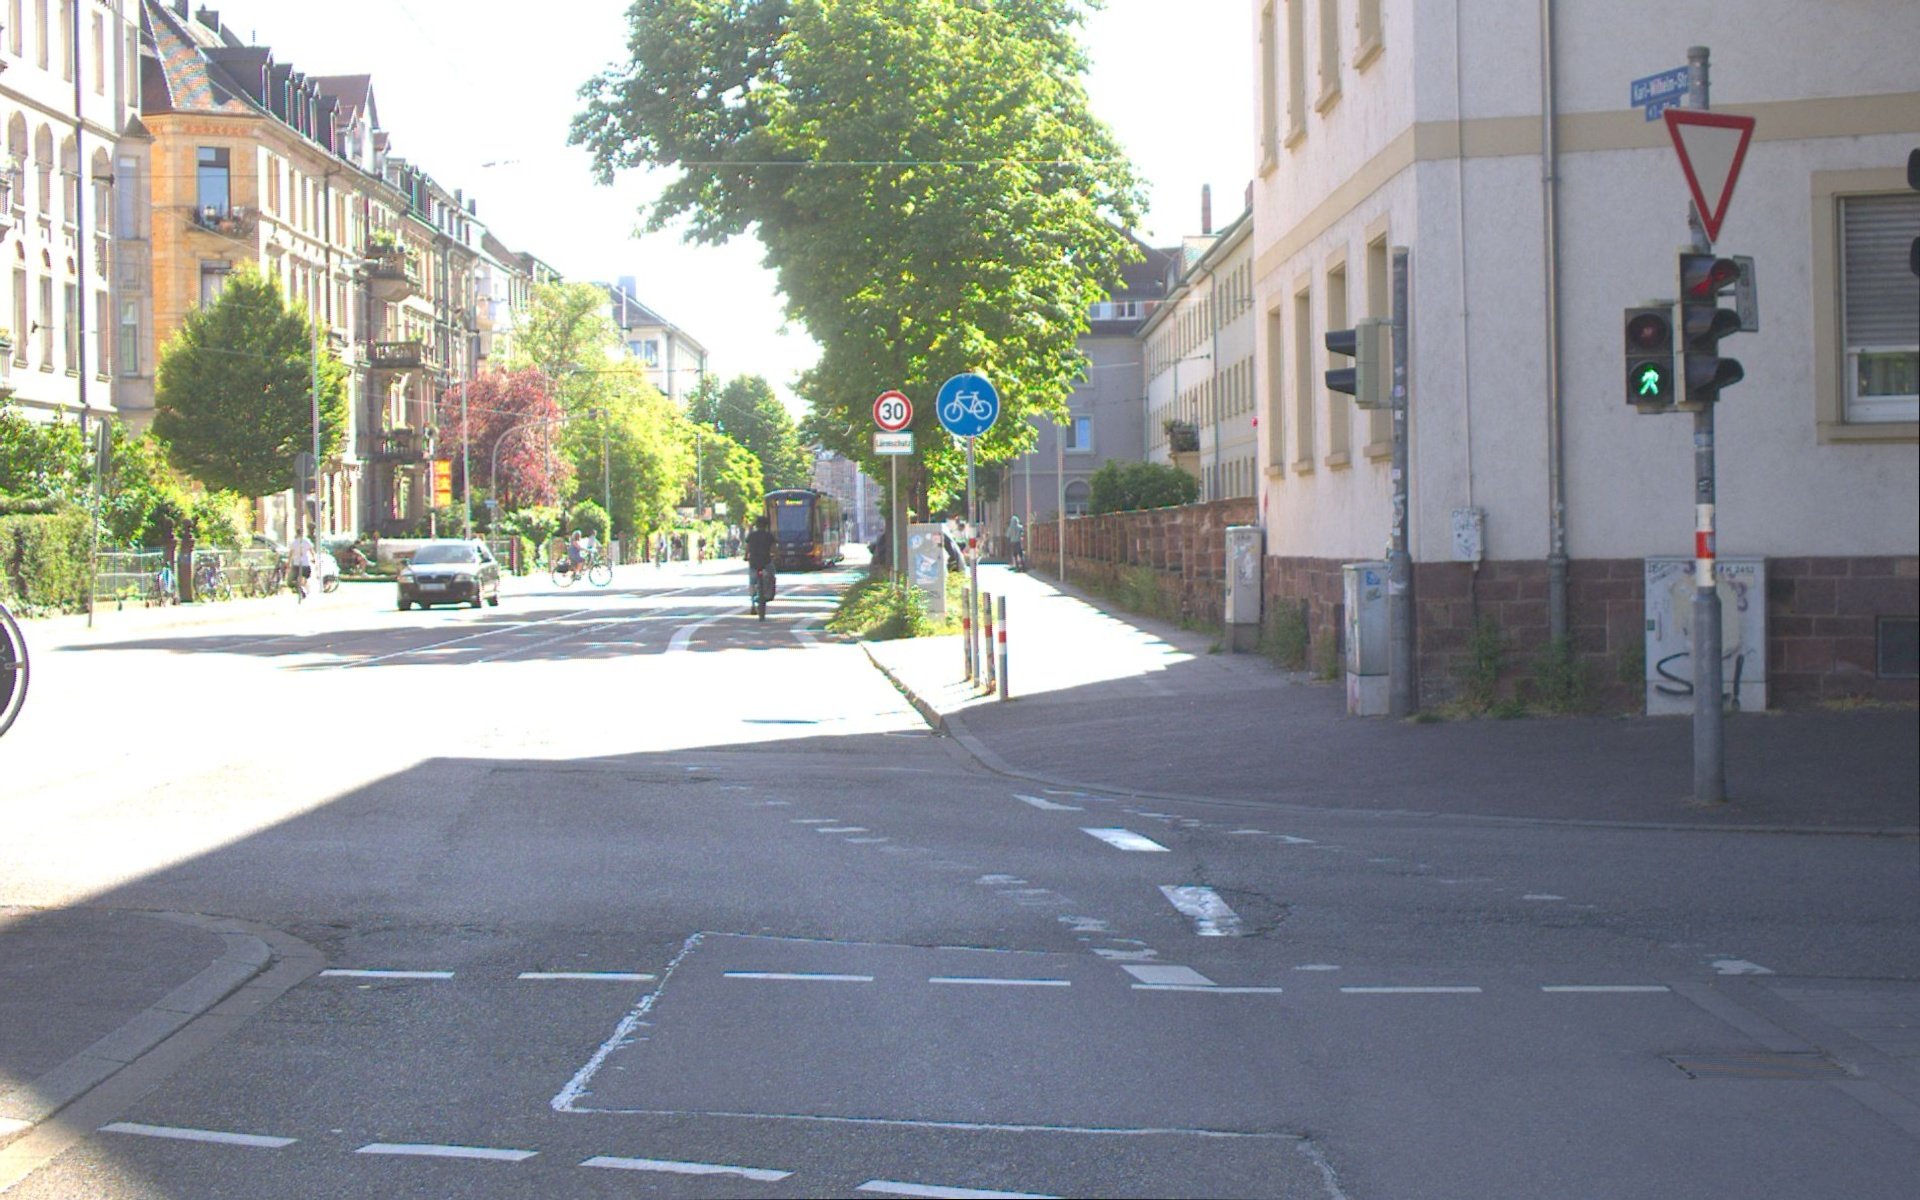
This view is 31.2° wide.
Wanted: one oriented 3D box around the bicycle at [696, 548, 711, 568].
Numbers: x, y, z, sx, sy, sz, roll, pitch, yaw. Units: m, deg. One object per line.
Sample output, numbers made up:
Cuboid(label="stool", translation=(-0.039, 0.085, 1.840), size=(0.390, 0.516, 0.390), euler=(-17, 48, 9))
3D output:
Cuboid(label="bicycle", translation=(-14.235, -2.336, 191.011), size=(0.692, 1.108, 1.719), euler=(-2, 1, 0))

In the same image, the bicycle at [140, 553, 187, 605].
Cuboid(label="bicycle", translation=(-16.967, -0.451, 73.262), size=(0.563, 1.030, 1.768), euler=(1, 2, 0))

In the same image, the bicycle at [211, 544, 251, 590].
Cuboid(label="bicycle", translation=(-16.954, -0.776, 79.991), size=(0.563, 1.030, 1.768), euler=(1, 1, -1))

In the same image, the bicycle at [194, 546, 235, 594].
Cuboid(label="bicycle", translation=(-16.780, -0.685, 77.398), size=(0.563, 1.030, 1.768), euler=(1, 1, -1))

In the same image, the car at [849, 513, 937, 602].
Cuboid(label="car", translation=(-1.376, -0.893, 70.896), size=(1.743, 1.760, 4.478), euler=(1, 1, -1))

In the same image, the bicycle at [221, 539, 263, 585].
Cuboid(label="bicycle", translation=(-17.240, -0.918, 82.544), size=(0.563, 1.030, 1.768), euler=(3, 1, -25))

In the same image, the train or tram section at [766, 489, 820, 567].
Cuboid(label="train or tram section", translation=(-7.465, -3.245, 154.421), size=(2.153, 3.420, 6.611), euler=(1, 1, -1))

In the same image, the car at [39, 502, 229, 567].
Cuboid(label="car", translation=(-21.483, -1.701, 89.515), size=(4.446, 1.638, 1.966), euler=(1, 1, 3))

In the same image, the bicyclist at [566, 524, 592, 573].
Cuboid(label="bicyclist", translation=(-11.443, -1.552, 103.292), size=(0.613, 1.463, 0.637), euler=(0, 1, -22))

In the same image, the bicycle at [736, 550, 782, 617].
Cuboid(label="bicycle", translation=(-3.438, -0.296, 58.929), size=(0.692, 1.108, 1.719), euler=(1, 1, 0))

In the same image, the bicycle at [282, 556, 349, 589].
Cuboid(label="bicycle", translation=(-18.501, -0.790, 98.680), size=(1.783, 0.911, 0.621), euler=(0, -1, -36))

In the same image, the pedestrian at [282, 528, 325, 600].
Cuboid(label="pedestrian", translation=(-15.703, -0.855, 82.227), size=(0.829, 1.718, 1.082), euler=(1, 0, -1))

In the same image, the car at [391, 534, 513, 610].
Cuboid(label="car", translation=(-10.861, -0.626, 73.773), size=(1.832, 1.513, 4.967), euler=(2, 1, 0))

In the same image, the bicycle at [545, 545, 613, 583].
Cuboid(label="bicycle", translation=(-11.438, -1.086, 103.308), size=(1.910, 1.108, 0.694), euler=(0, 1, -22))

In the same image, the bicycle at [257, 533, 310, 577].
Cuboid(label="bicycle", translation=(-16.669, -1.120, 84.642), size=(0.563, 1.030, 1.767), euler=(-1, 3, -37))

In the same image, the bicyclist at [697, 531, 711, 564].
Cuboid(label="bicyclist", translation=(-14.227, -2.901, 190.875), size=(0.660, 1.795, 0.616), euler=(-3, 0, 0))

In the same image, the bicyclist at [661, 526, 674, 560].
Cuboid(label="bicyclist", translation=(-14.017, -2.747, 164.609), size=(0.464, 1.613, 0.744), euler=(-3, 1, 0))

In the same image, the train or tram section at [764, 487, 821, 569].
Cuboid(label="train or tram section", translation=(-7.159, -3.100, 147.767), size=(2.153, 3.420, 6.611), euler=(1, 1, -1))

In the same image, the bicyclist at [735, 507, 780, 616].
Cuboid(label="bicyclist", translation=(-3.476, -0.661, 59.031), size=(0.727, 1.842, 0.837), euler=(1, 1, -1))

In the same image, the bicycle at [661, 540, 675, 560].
Cuboid(label="bicycle", translation=(-14.002, -2.390, 164.667), size=(0.460, 0.922, 2.203), euler=(-2, 1, 0))
